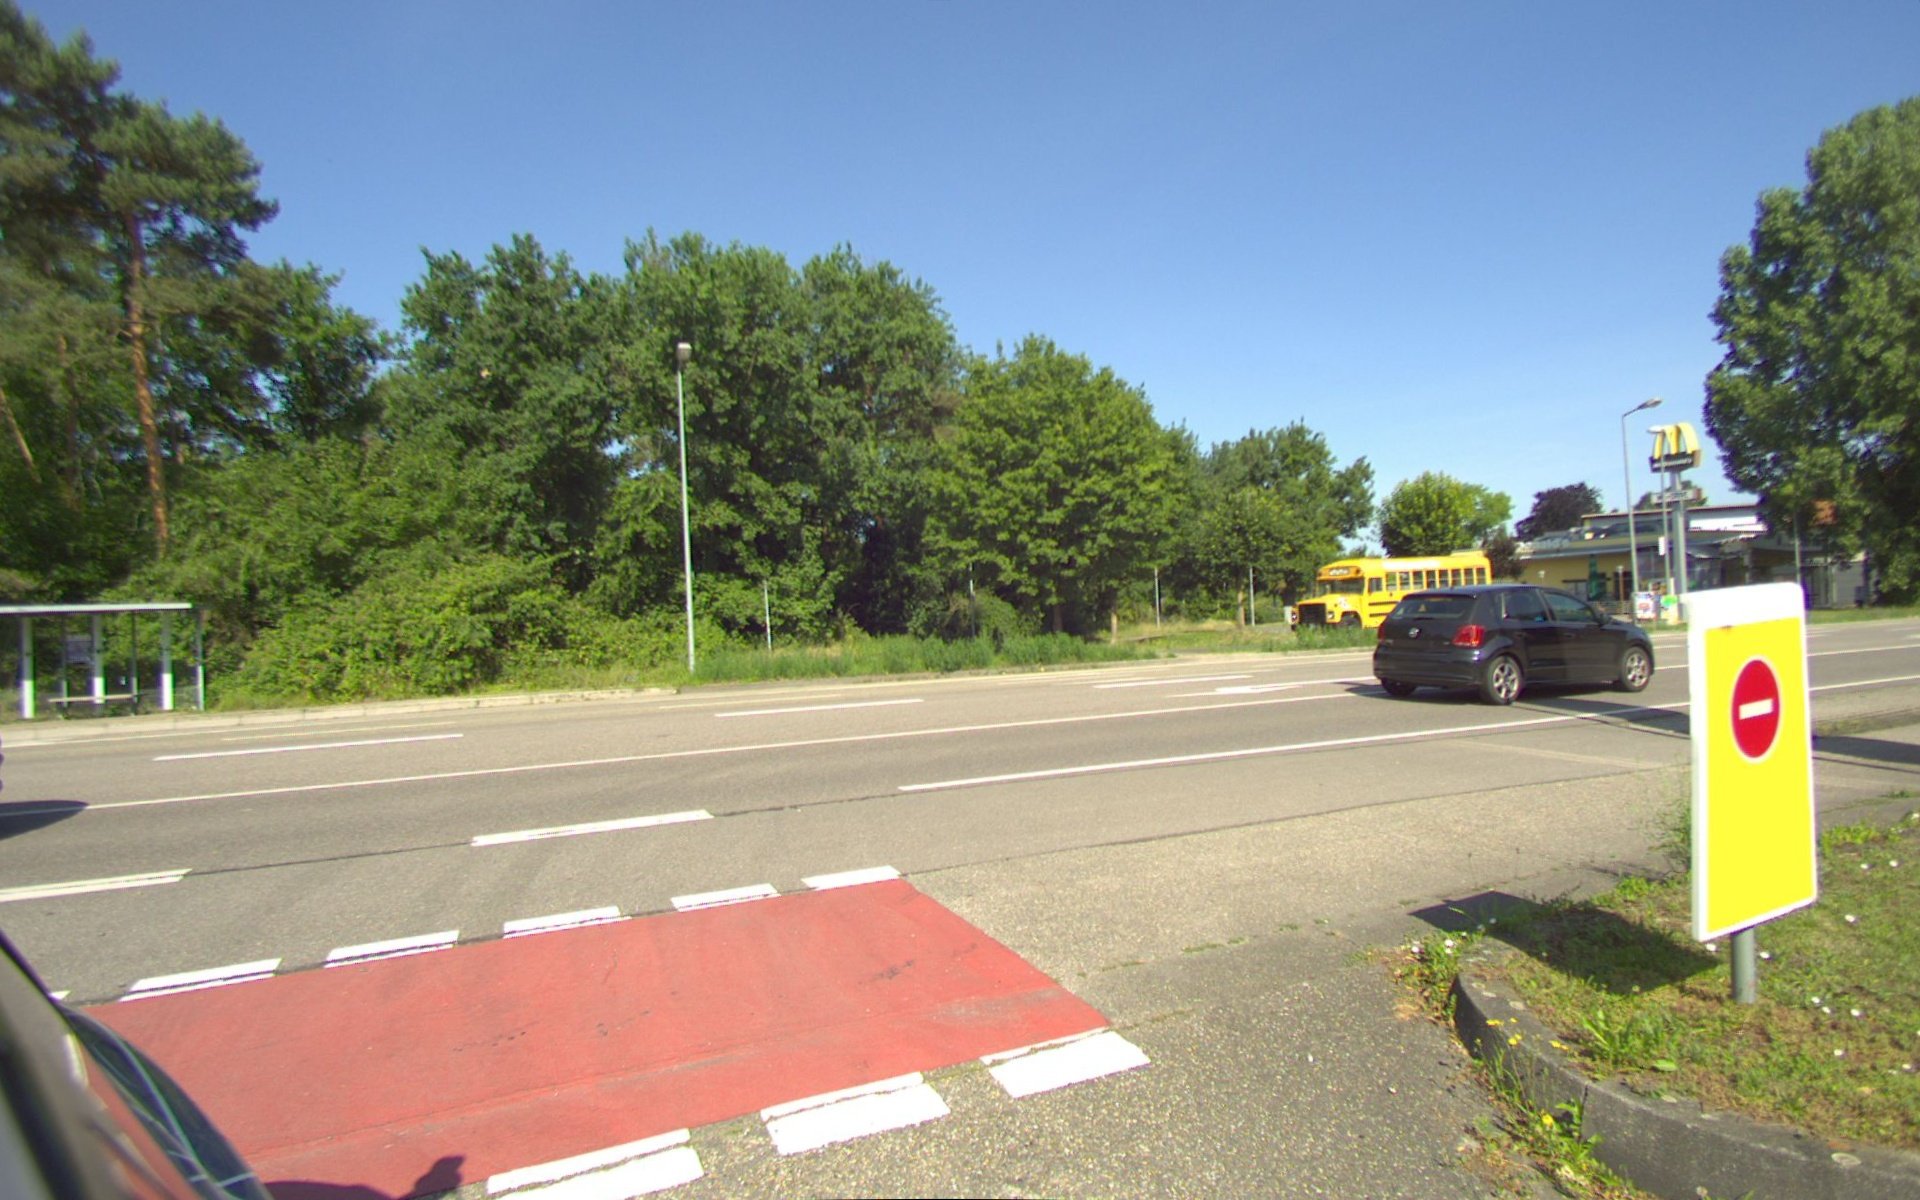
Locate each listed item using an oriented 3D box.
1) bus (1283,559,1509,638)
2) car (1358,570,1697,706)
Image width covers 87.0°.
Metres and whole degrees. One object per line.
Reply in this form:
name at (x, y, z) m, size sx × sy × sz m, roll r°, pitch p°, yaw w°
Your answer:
bus at (16.408, -0.101, 37.846) m, size 8.841 × 2.699 × 2.596 m, roll -1°, pitch -1°, yaw -26°
car at (7.218, 0.405, 12.857) m, size 3.985 × 1.441 × 1.657 m, roll -2°, pitch 0°, yaw -24°
